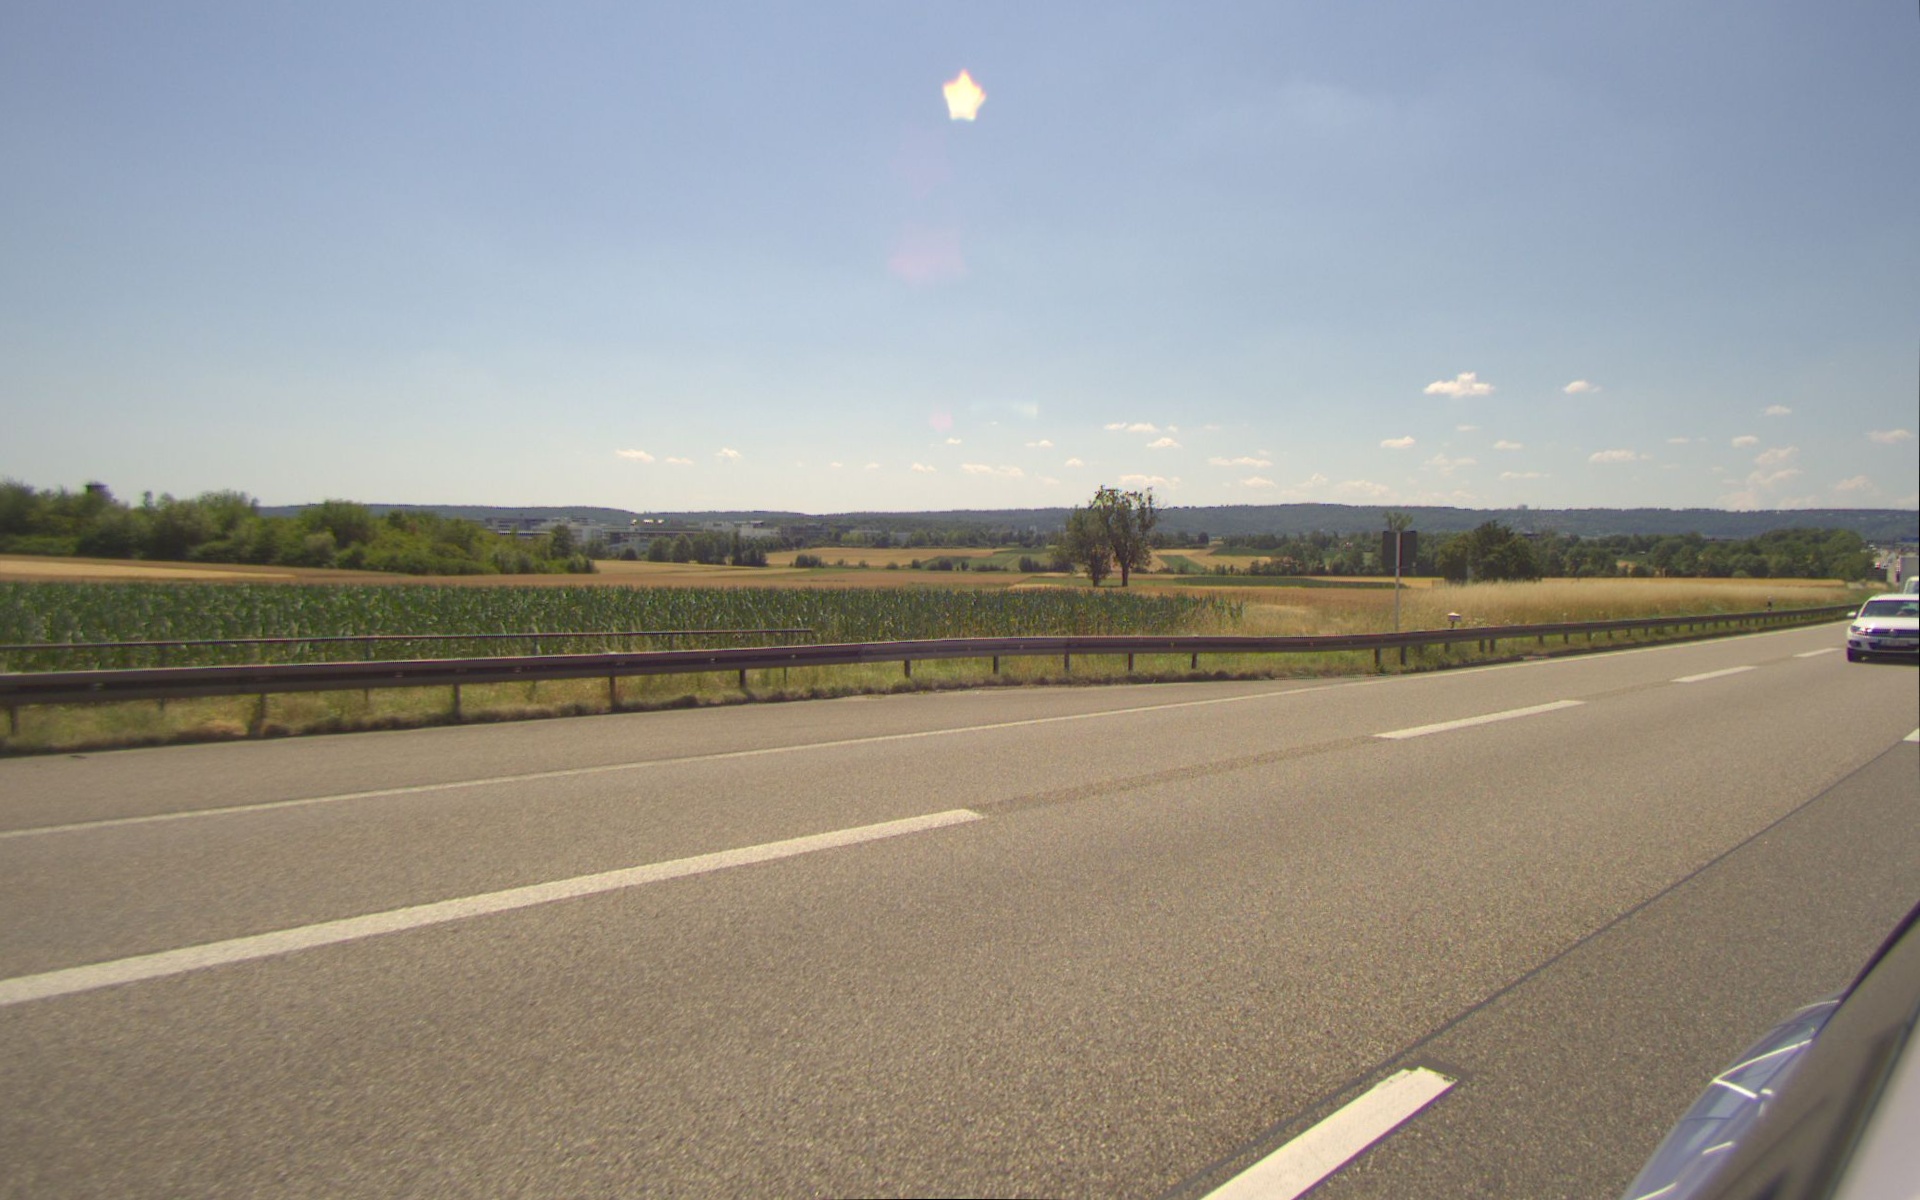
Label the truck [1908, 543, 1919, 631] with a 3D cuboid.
[{"bbox_3d":[36.251,-0.505,36.763,2.440,3.066,6.805,0,1,45],"label":"truck"}]

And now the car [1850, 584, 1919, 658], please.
[{"bbox_3d":[23.010,0.452,24.429,4.101,1.666,1.834,-1,1,-42],"label":"car"}]
